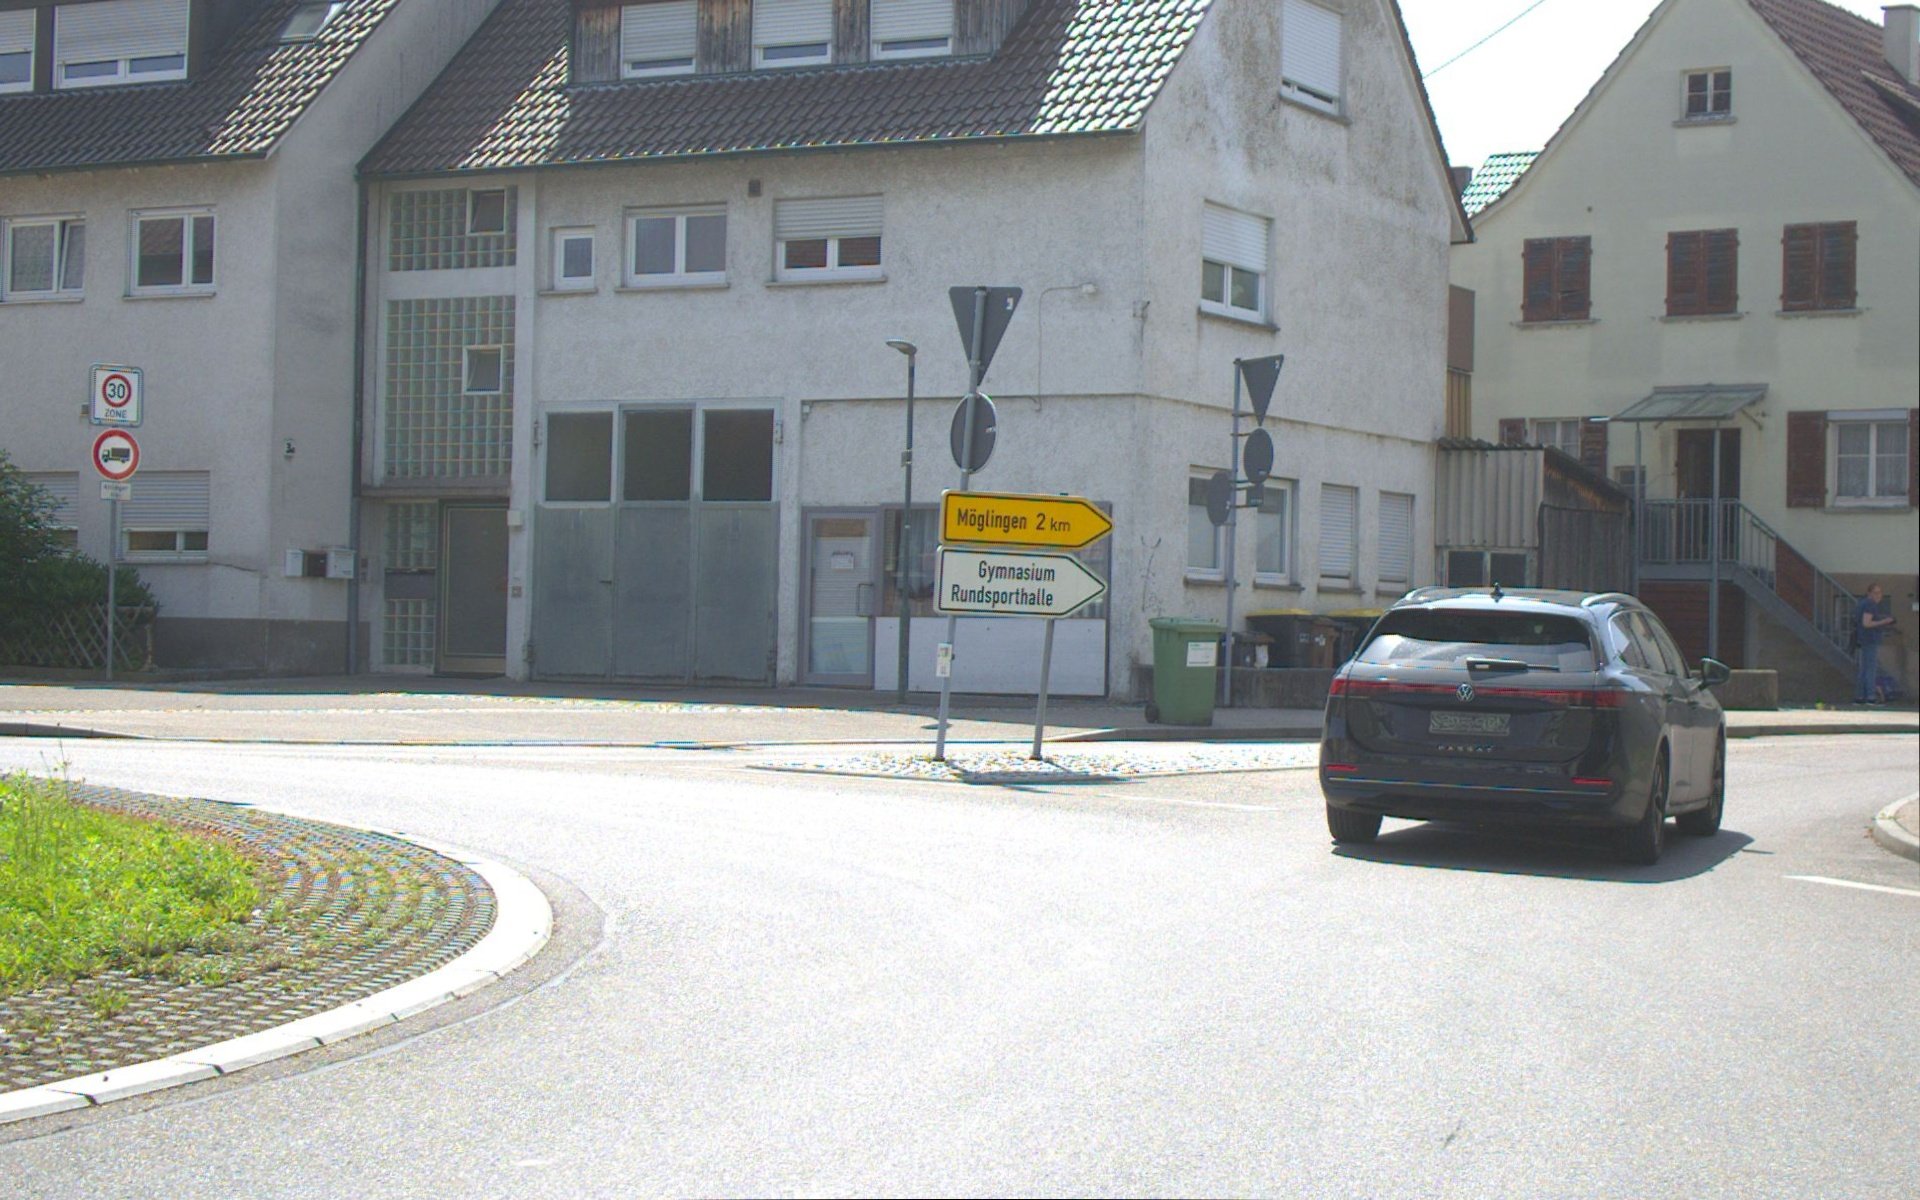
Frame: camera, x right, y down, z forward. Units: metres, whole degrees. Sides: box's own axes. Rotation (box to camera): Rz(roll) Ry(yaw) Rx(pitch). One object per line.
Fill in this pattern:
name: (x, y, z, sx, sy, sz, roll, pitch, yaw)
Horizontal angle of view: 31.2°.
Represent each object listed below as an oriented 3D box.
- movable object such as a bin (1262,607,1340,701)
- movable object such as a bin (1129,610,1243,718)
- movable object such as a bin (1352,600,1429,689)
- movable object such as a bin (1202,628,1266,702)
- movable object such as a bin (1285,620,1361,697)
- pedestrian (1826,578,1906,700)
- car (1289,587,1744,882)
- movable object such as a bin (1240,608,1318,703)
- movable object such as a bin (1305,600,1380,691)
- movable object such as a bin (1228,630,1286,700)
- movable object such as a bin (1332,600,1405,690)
movable object such as a bin: (4.035, 0.629, 40.726, 0.684, 1.082, 0.697, 2, 1, 28)
movable object such as a bin: (2.255, 0.634, 34.367, 0.824, 1.041, 0.811, 1, 1, -26)
movable object such as a bin: (5.381, 0.547, 42.954, 0.740, 1.078, 0.659, 2, 1, 28)
movable object such as a bin: (3.111, 0.733, 38.995, 0.486, 0.802, 0.645, 2, 1, 29)
movable object such as a bin: (4.370, 0.702, 41.383, 0.684, 0.893, 0.697, 2, 1, 28)
pedestrian: (11.887, 0.502, 45.102, 0.626, 1.568, 0.779, 1, 1, -45)
car: (3.322, 0.664, 19.730, 1.843, 1.415, 4.678, 2, 1, 18)
movable object such as a bin: (3.720, 0.644, 40.110, 0.684, 1.082, 0.644, 2, 1, 28)
movable object such as a bin: (4.689, 0.551, 42.089, 0.684, 1.078, 0.697, 2, 1, 28)
movable object such as a bin: (3.417, 0.742, 39.560, 0.486, 0.778, 0.526, 2, 1, 28)
movable object such as a bin: (5.035, 0.545, 42.375, 0.684, 1.078, 0.624, 2, 1, 28)
